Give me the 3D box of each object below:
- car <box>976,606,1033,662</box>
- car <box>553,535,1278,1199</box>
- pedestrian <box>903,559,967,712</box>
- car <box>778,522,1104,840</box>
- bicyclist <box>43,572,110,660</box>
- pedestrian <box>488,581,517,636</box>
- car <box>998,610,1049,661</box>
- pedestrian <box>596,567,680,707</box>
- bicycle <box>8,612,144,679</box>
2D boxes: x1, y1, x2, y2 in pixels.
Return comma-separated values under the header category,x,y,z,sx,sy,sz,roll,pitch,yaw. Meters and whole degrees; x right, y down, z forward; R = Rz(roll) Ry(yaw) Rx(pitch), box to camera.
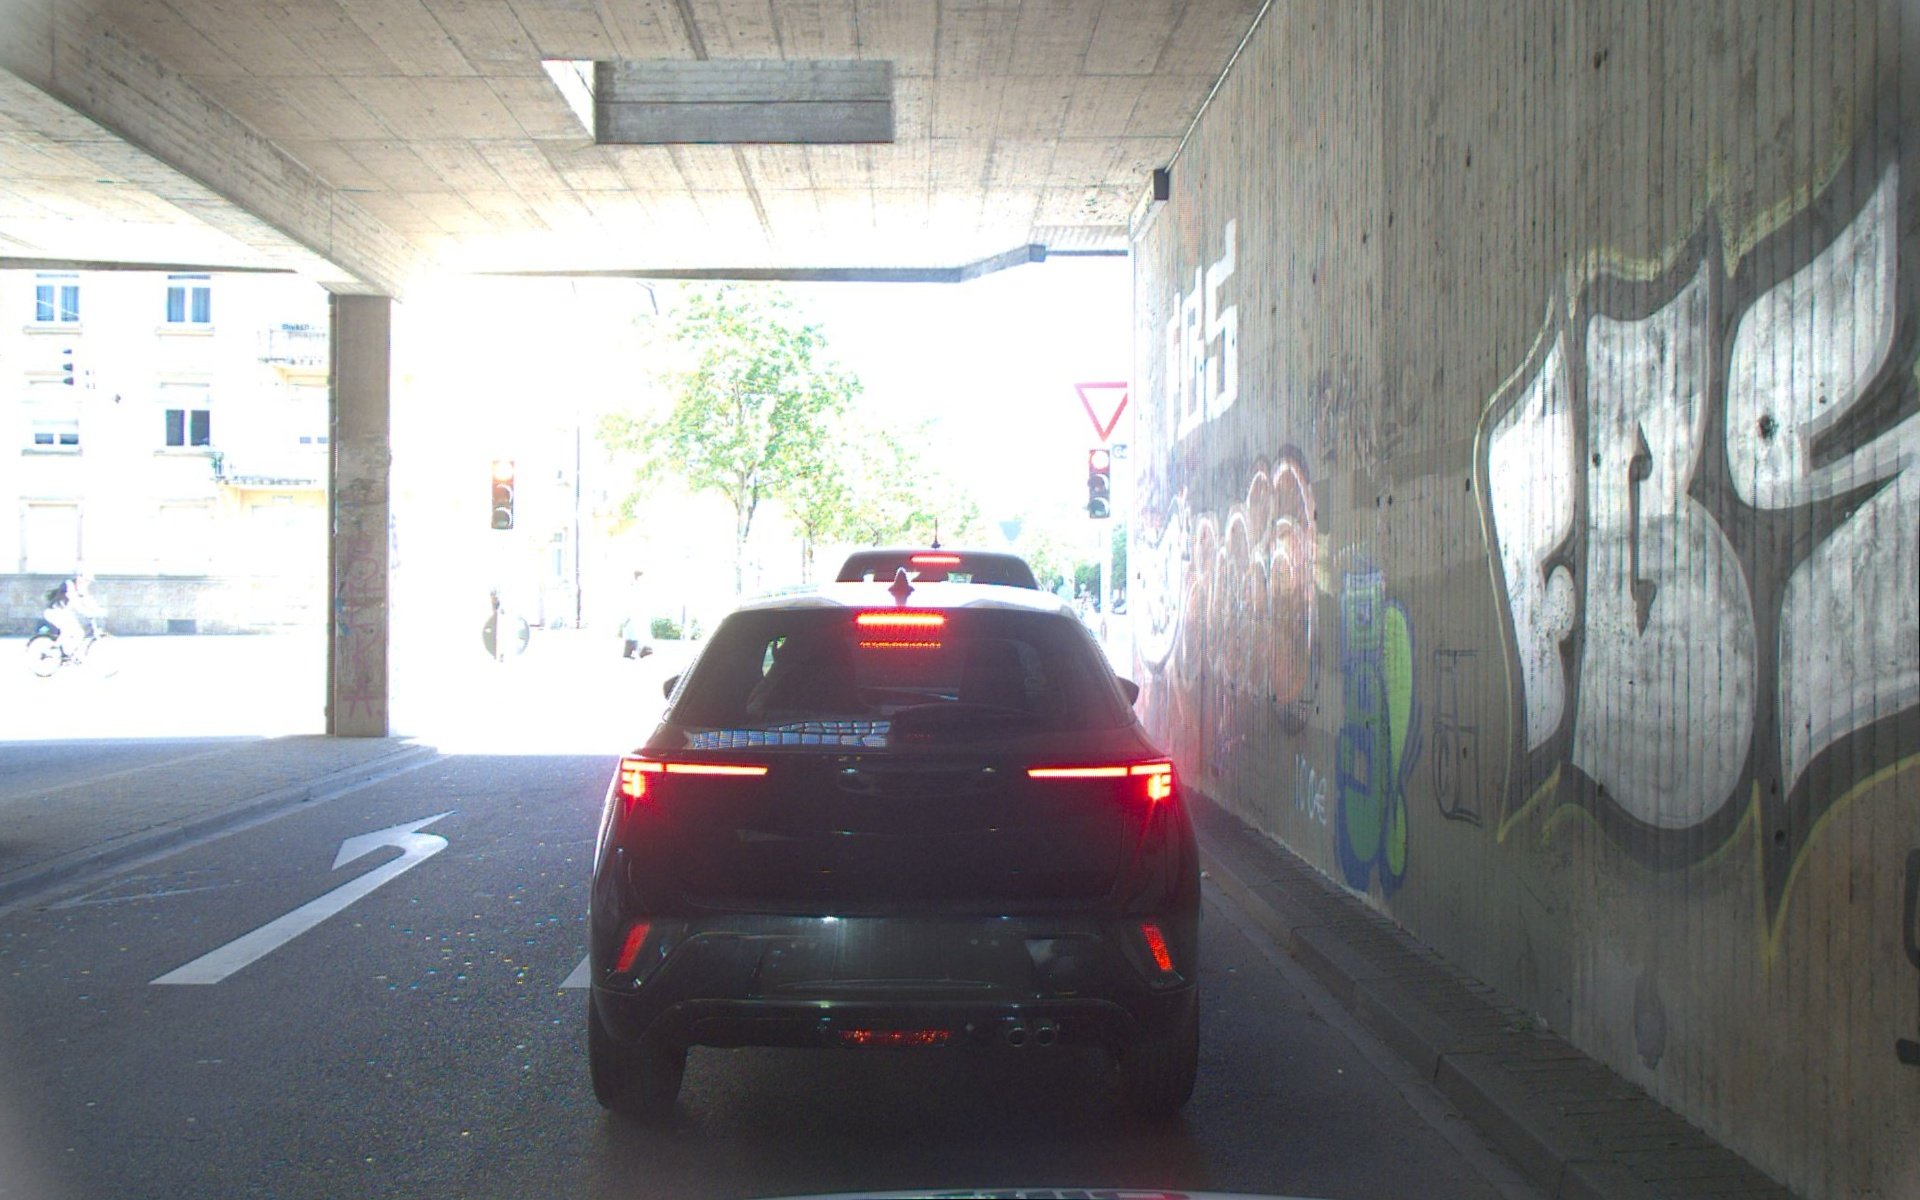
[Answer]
category,x,y,z,sx,sy,sz,roll,pitch,yaw
car,1.712,1.238,62.318,1.951,2.004,4.166,1,0,4
car,-0.135,0.610,5.997,1.729,1.598,4.000,1,1,-1
pedestrian,-0.300,0.414,19.669,0.716,1.764,0.874,1,0,-1
car,-0.140,0.474,11.966,1.953,1.904,3.999,0,0,-1
bicyclist,-14.834,0.264,27.789,0.722,1.448,0.685,-1,-1,6
pedestrian,-14.023,0.249,50.710,0.658,1.666,0.740,1,-1,-1
car,2.650,1.440,68.440,1.951,2.004,4.166,1,0,4
pedestrian,-4.204,0.475,21.636,0.910,1.792,0.794,1,-1,1
bicycle,-14.829,0.760,27.759,1.947,1.068,0.719,-1,-1,6
